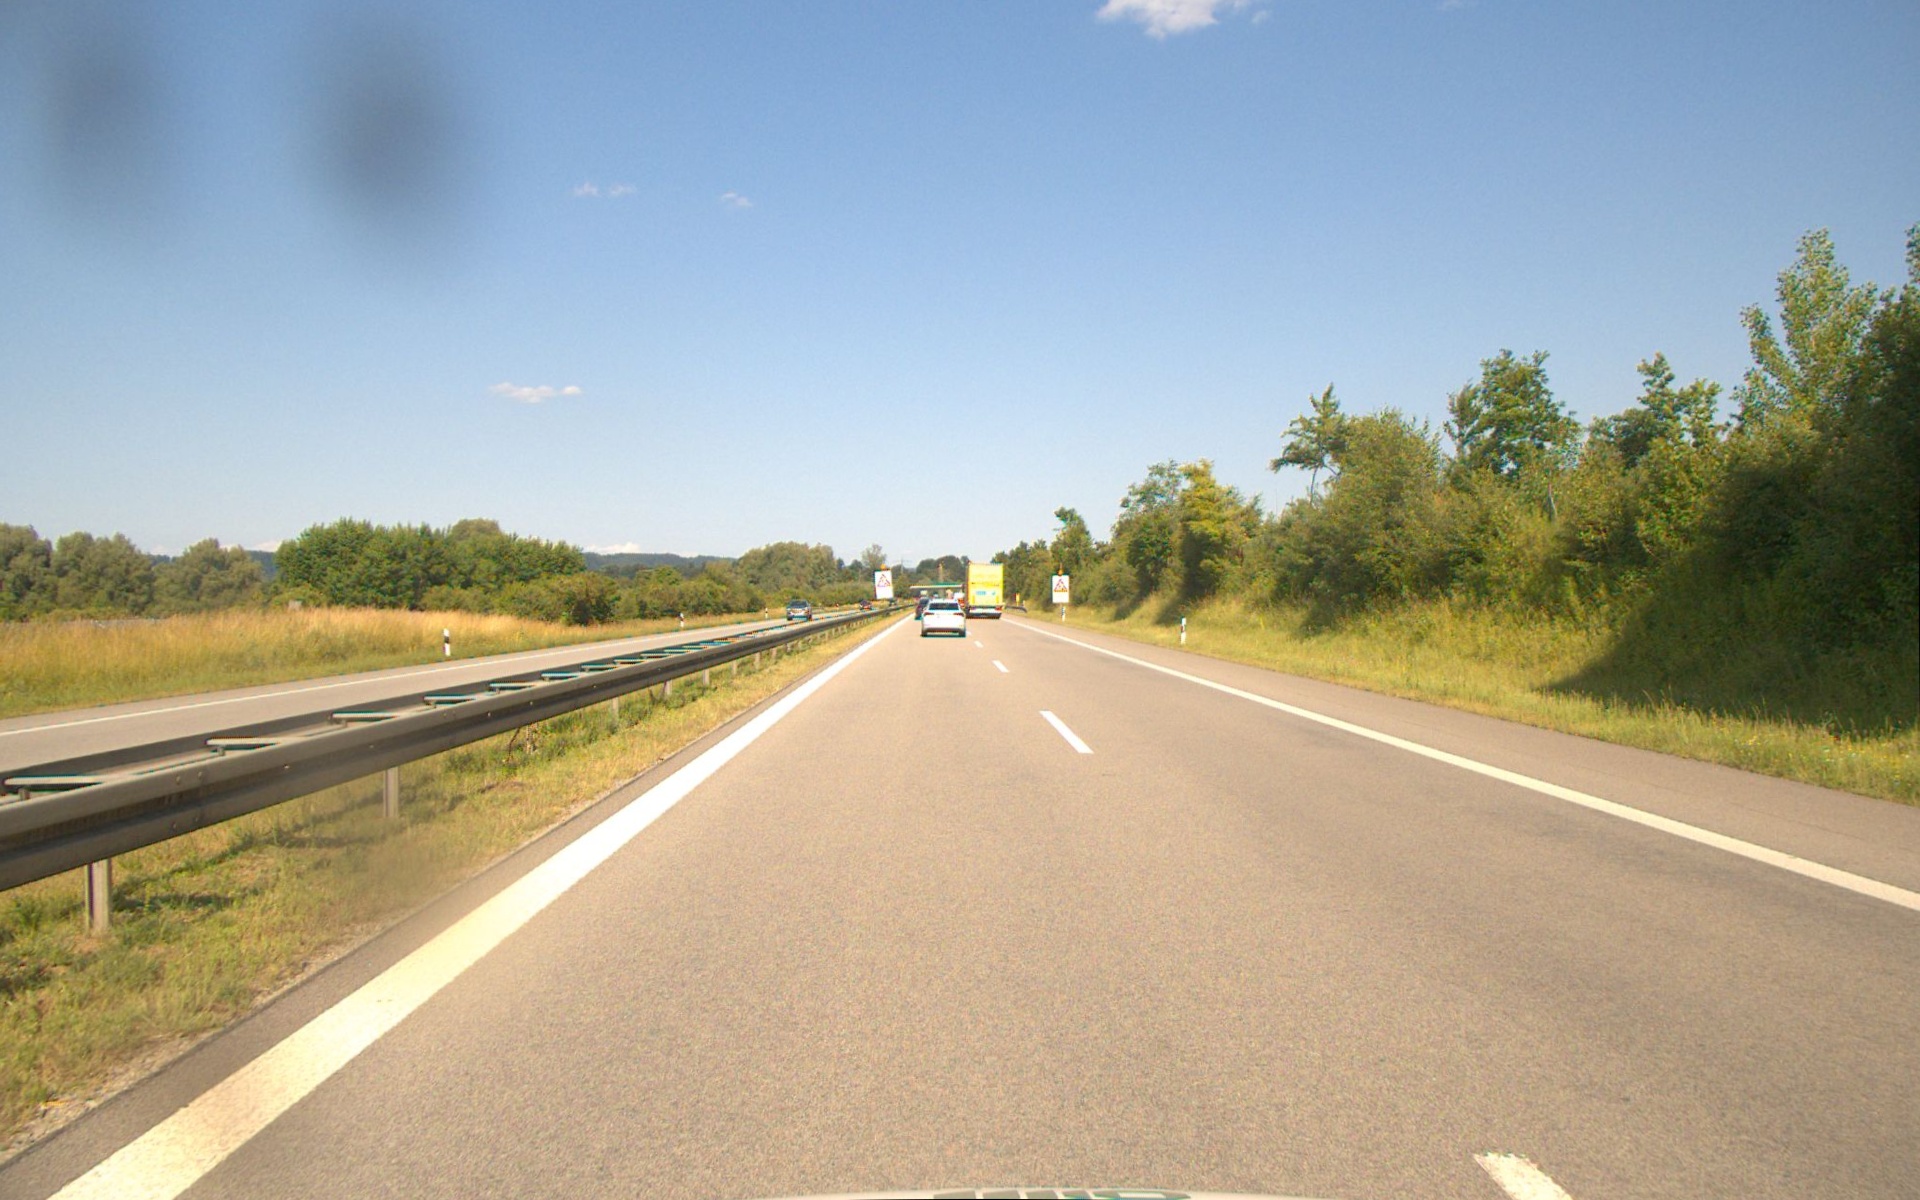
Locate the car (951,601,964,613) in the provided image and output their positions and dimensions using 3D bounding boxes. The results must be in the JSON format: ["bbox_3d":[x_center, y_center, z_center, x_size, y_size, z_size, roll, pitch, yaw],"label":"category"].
[{"bbox_3d":[-0.436,1.042,253.968,1.863,1.712,4.730,2,0,-1],"label":"car"}]

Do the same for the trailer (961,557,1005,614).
[{"bbox_3d":[1.710,-1.026,128.558,3.119,4.130,13.185,1,0,0],"label":"trailer"}]

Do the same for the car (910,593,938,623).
[{"bbox_3d":[-2.537,0.590,116.439,1.953,2.049,3.999,1,0,-1],"label":"car"}]

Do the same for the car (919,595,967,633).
[{"bbox_3d":[-0.653,0.553,65.379,1.805,1.440,4.000,1,0,0],"label":"car"}]

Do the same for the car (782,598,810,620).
[{"bbox_3d":[-13.532,0.714,136.877,1.863,1.712,4.730,-2,0,-1],"label":"car"}]

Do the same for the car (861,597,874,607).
[{"bbox_3d":[-13.758,0.297,246.605,1.795,1.422,4.921,-3,0,-2],"label":"car"}]
